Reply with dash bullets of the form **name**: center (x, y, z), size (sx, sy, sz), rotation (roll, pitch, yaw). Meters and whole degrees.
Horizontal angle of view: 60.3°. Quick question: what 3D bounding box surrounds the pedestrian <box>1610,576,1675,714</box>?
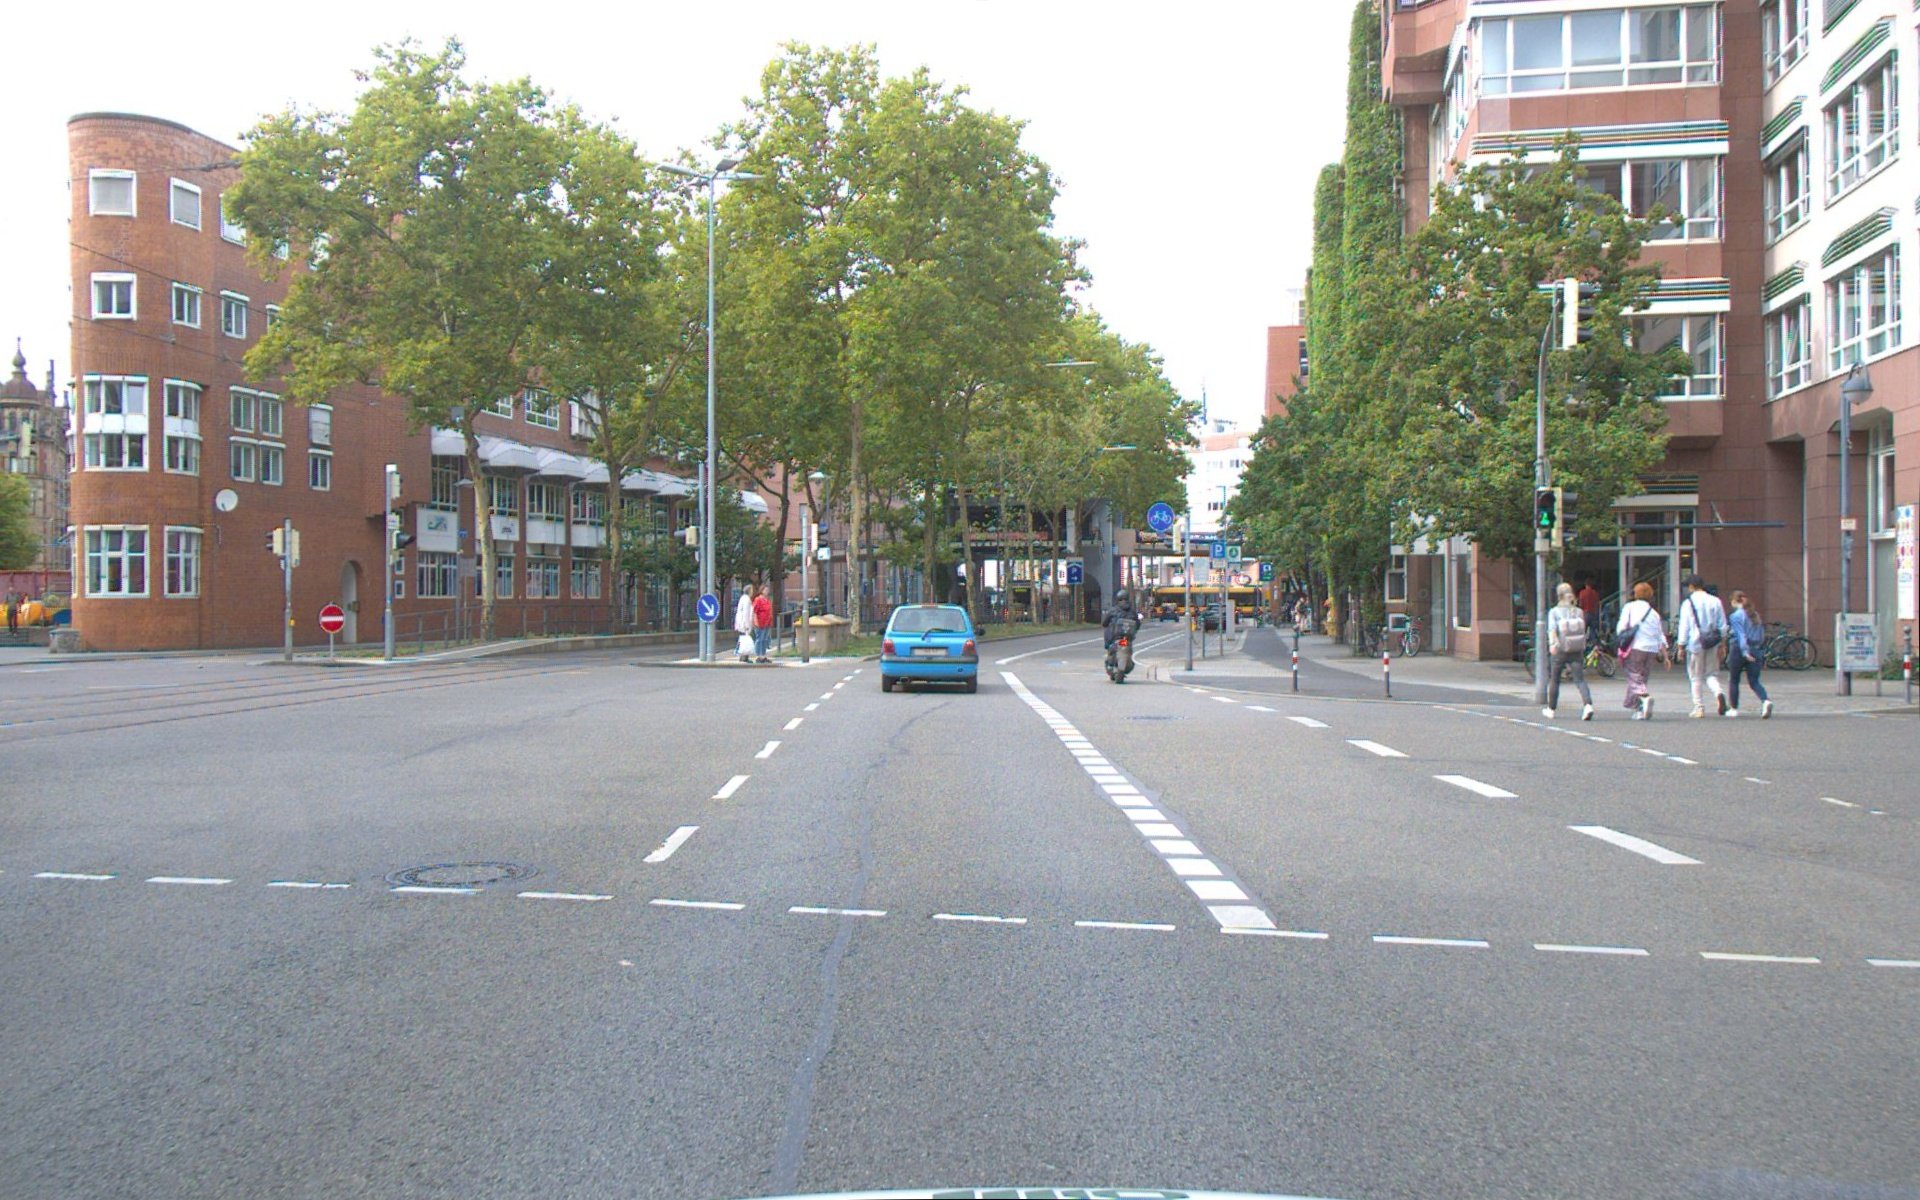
- **pedestrian**: center (8.331, 0.538, 20.217), size (0.506, 1.644, 0.851), rotation (0, 0, 6)

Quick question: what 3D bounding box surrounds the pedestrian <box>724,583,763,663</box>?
- **pedestrian**: center (-4.781, 0.508, 36.575), size (0.541, 1.748, 0.891), rotation (0, -1, 16)

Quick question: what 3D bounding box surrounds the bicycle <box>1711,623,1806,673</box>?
- **bicycle**: center (16.649, 0.991, 34.501), size (1.693, 1.026, 0.547), rotation (0, 0, 6)

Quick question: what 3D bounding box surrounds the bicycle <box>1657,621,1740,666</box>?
- **bicycle**: center (16.934, 0.990, 37.930), size (1.693, 1.026, 0.431), rotation (0, -1, 6)

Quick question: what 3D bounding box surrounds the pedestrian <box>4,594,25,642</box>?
- **pedestrian**: center (-36.865, 0.706, 64.491), size (0.684, 1.849, 0.650), rotation (0, -1, -27)

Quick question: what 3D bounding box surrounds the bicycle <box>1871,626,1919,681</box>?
- **bicycle**: center (16.293, 0.909, 28.182), size (1.293, 0.931, 0.473), rotation (0, 0, 37)

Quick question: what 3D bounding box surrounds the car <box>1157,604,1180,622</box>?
- **car**: center (19.828, 1.259, 157.200), size (1.846, 1.652, 4.003), rotation (0, 0, 11)

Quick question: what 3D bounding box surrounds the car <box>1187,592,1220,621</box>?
- **car**: center (14.015, 0.343, 95.010), size (1.662, 1.629, 4.003), rotation (0, 0, 11)

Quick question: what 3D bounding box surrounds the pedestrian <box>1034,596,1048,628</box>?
- **pedestrian**: center (4.843, 0.708, 98.867), size (0.712, 1.891, 0.871), rotation (0, 0, 11)

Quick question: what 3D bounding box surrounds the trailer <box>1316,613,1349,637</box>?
- **trailer**: center (17.184, 1.154, 76.245), size (0.974, 1.077, 1.604), rotation (-1, 0, 34)

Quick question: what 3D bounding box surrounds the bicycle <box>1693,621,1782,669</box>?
- **bicycle**: center (16.859, 0.982, 35.893), size (1.693, 1.026, 0.425), rotation (0, -1, 6)

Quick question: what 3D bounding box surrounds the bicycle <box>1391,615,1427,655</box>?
- **bicycle**: center (12.073, 0.930, 44.502), size (0.604, 1.026, 1.736), rotation (0, 0, 5)

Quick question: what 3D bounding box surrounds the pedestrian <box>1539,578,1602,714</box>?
- **pedestrian**: center (7.518, 0.552, 20.385), size (0.506, 1.644, 0.851), rotation (0, 0, 4)

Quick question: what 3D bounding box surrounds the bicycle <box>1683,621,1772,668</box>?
- **bicycle**: center (16.877, 0.984, 36.383), size (1.693, 1.026, 0.479), rotation (0, -1, 6)

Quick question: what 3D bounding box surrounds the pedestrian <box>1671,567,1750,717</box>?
- **pedestrian**: center (9.485, 0.518, 20.925), size (0.662, 1.860, 0.851), rotation (0, 0, 6)

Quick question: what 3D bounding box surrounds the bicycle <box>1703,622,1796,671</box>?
- **bicycle**: center (16.744, 0.987, 35.088), size (1.693, 1.026, 0.547), rotation (0, 0, 6)

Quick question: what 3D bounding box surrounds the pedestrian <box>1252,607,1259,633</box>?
- **pedestrian**: center (20.762, 1.397, 116.260), size (0.499, 1.790, 0.539), rotation (-1, -1, 10)

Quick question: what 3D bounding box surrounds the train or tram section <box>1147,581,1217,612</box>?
- **train or tram section**: center (24.341, -0.353, 181.399), size (8.734, 3.311, 2.362), rotation (0, -1, -40)

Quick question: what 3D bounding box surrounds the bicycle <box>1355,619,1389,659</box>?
- **bicycle**: center (11.024, 1.038, 44.275), size (0.604, 1.026, 1.736), rotation (0, 0, 5)

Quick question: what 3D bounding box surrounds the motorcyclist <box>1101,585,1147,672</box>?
- **motorcyclist**: center (3.000, 0.520, 30.303), size (0.744, 1.546, 1.018), rotation (-1, -1, 1)

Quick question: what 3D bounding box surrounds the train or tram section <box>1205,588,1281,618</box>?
- **train or tram section**: center (31.768, 0.361, 185.571), size (8.205, 3.311, 2.384), rotation (0, -1, -19)

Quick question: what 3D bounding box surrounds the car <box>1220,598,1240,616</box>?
- **car**: center (24.738, 0.625, 151.262), size (1.662, 1.629, 4.003), rotation (0, 0, 11)

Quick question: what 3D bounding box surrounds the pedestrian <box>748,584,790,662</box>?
- **pedestrian**: center (-4.323, 0.520, 37.430), size (0.542, 1.748, 0.890), rotation (0, -1, 26)

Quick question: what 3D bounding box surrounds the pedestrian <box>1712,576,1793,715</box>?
- **pedestrian**: center (10.114, 0.565, 21.139), size (0.638, 1.730, 1.023), rotation (0, 0, 7)

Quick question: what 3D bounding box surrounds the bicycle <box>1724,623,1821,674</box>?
- **bicycle**: center (16.637, 0.992, 33.891), size (1.693, 1.026, 0.547), rotation (0, 0, 6)

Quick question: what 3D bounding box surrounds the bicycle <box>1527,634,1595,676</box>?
- **bicycle**: center (12.341, 1.119, 33.975), size (1.271, 0.852, 0.454), rotation (0, -1, 17)

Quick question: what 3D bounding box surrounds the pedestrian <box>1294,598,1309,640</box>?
- **pedestrian**: center (15.400, 0.837, 74.646), size (0.633, 1.891, 0.783), rotation (0, 0, 9)

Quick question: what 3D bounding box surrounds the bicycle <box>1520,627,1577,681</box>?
- **bicycle**: center (11.598, 1.053, 32.625), size (0.604, 1.026, 1.736), rotation (0, 0, 4)

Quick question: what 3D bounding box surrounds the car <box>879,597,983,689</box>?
- **car**: center (-0.468, 0.665, 27.571), size (1.607, 1.410, 3.842), rotation (0, 0, 0)

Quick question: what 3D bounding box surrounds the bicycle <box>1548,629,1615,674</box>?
- **bicycle**: center (13.062, 1.088, 34.757), size (1.272, 0.883, 0.454), rotation (-3, -2, 21)

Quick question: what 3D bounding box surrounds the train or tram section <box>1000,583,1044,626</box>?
- **train or tram section**: center (5.094, 0.394, 134.435), size (2.338, 3.311, 8.825), rotation (-1, -1, 10)

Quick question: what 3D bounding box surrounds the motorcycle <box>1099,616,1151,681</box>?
- **motorcycle**: center (3.003, 0.865, 30.246), size (0.751, 1.126, 2.208), rotation (-1, 0, 1)

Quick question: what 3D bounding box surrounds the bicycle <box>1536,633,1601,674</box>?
- **bicycle**: center (12.679, 1.103, 34.459), size (1.272, 0.828, 0.444), rotation (0, -1, 21)

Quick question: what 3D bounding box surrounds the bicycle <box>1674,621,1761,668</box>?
- **bicycle**: center (16.896, 0.985, 36.911), size (1.693, 1.026, 0.472), rotation (0, -1, 6)

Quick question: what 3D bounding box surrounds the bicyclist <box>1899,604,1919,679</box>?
- **bicyclist**: center (16.302, 0.705, 28.158), size (0.488, 1.266, 0.478), rotation (-1, 0, 37)
